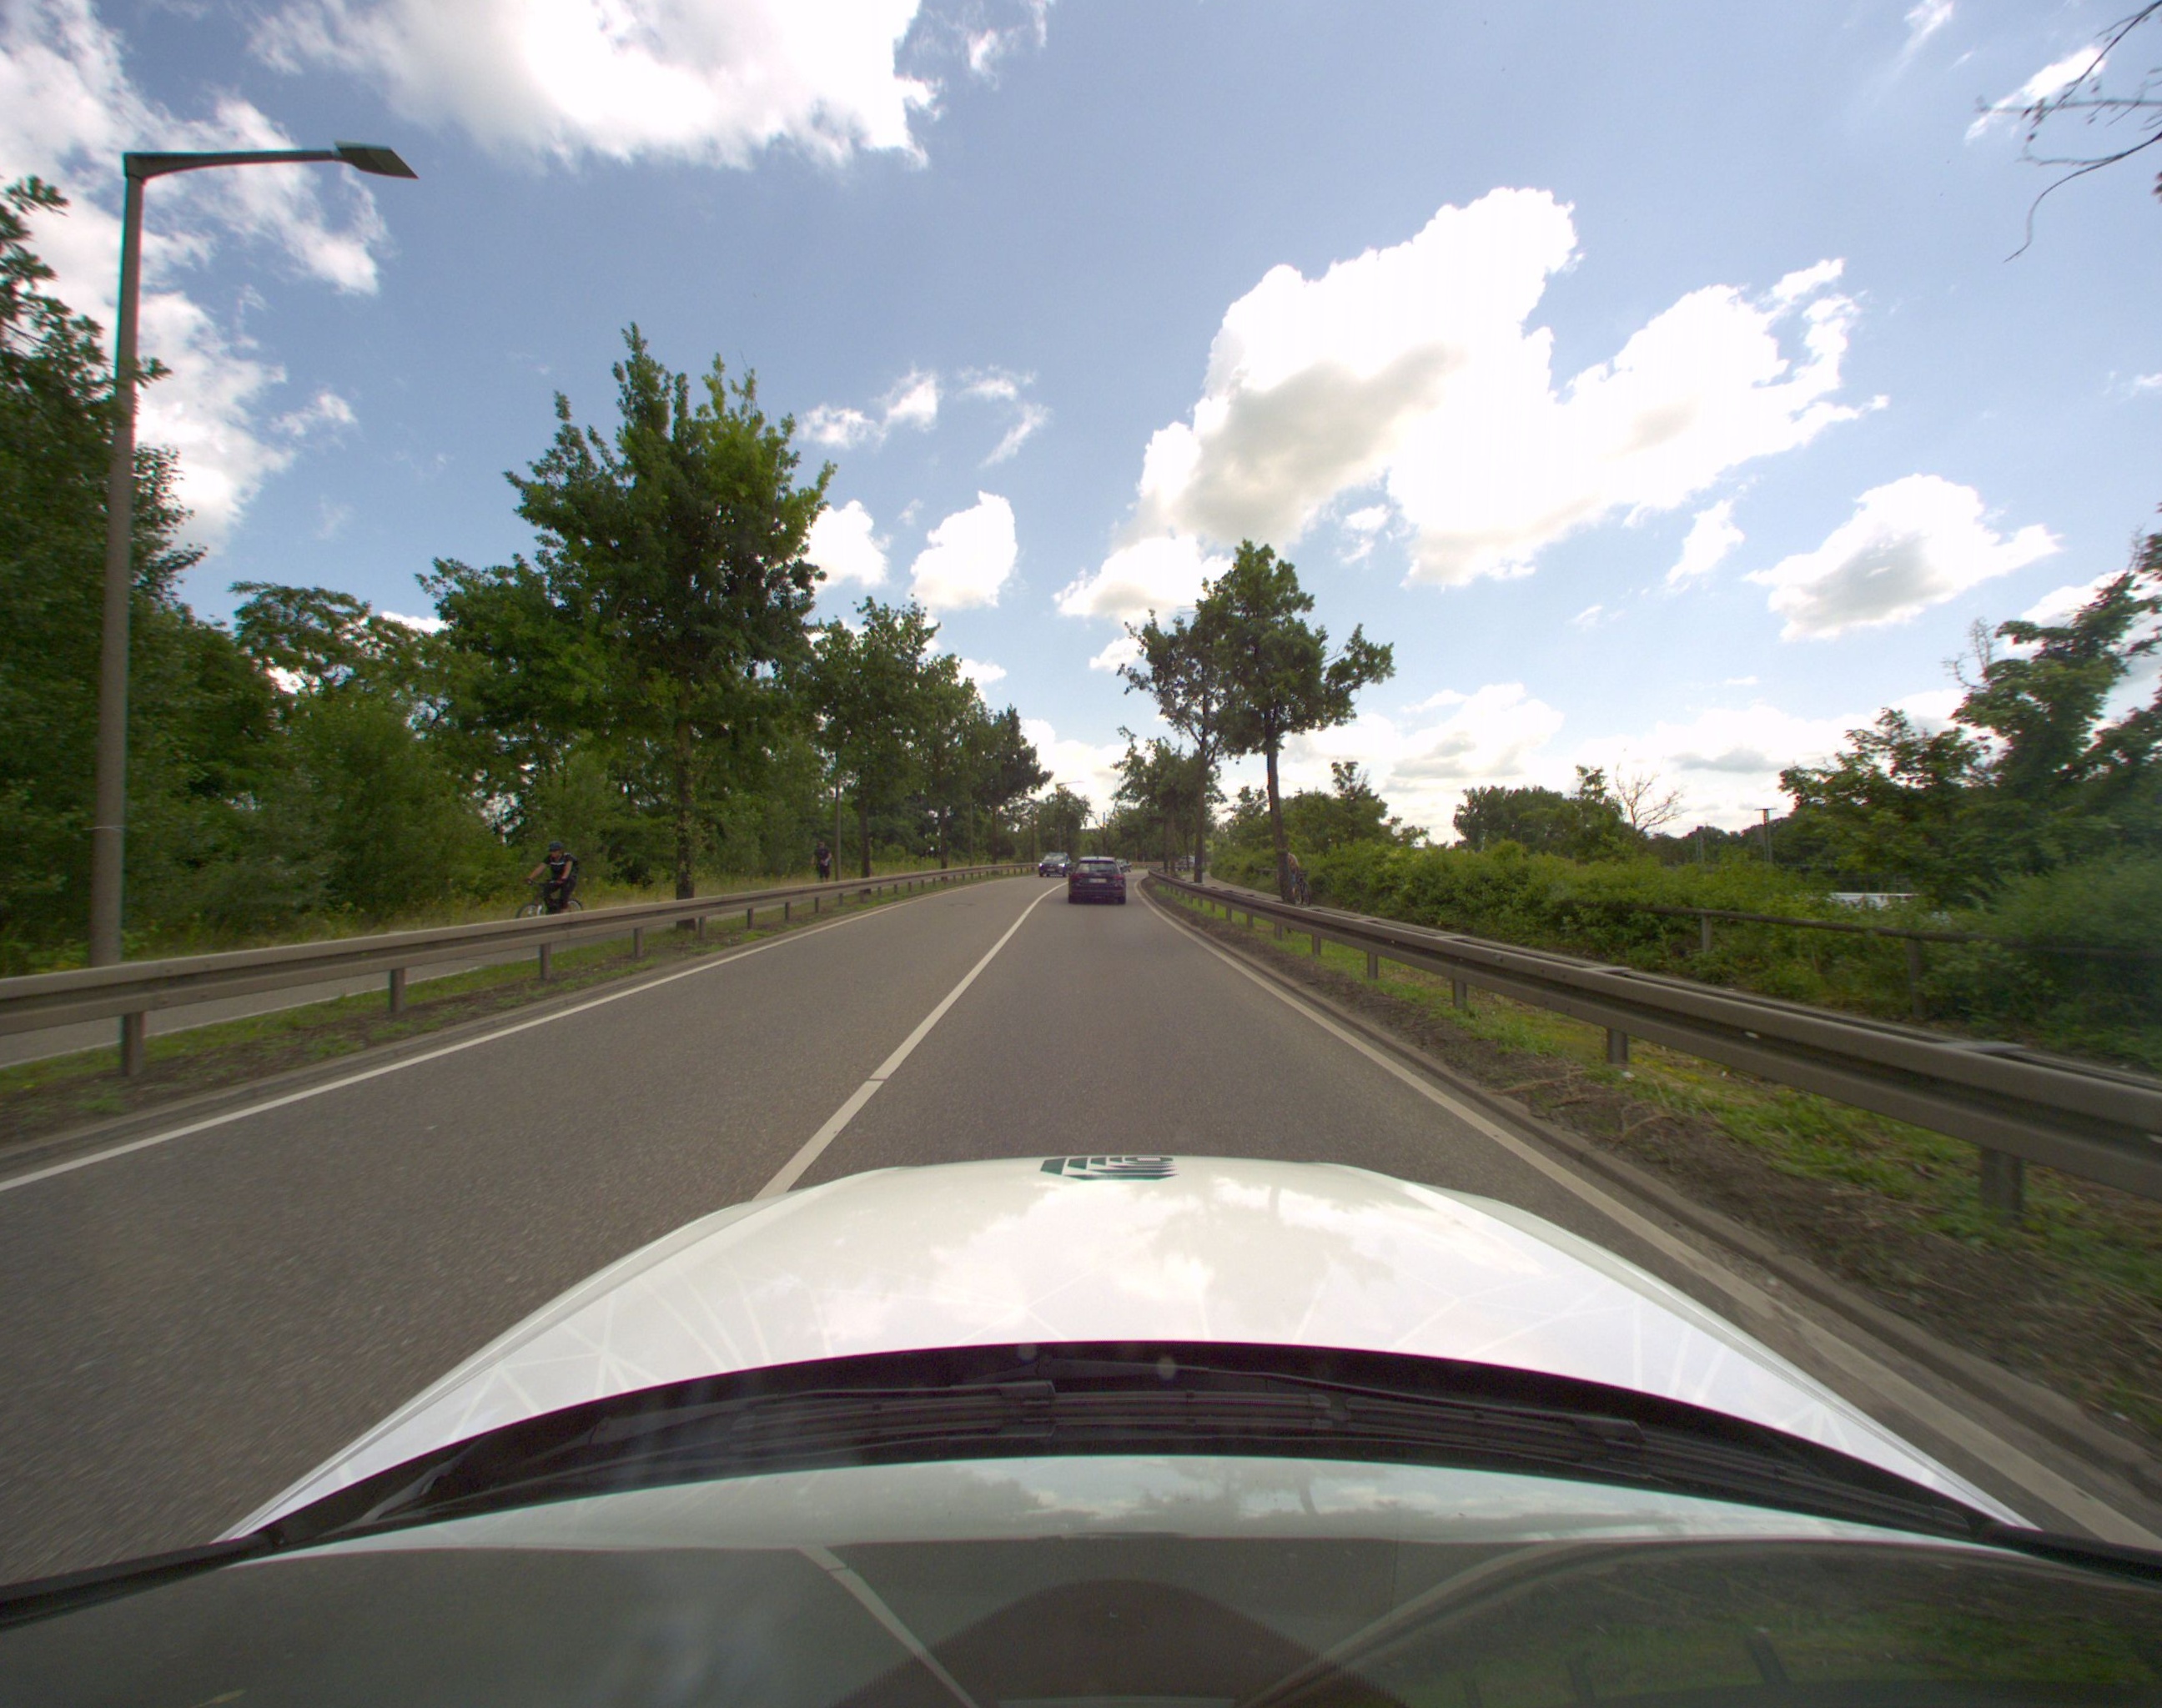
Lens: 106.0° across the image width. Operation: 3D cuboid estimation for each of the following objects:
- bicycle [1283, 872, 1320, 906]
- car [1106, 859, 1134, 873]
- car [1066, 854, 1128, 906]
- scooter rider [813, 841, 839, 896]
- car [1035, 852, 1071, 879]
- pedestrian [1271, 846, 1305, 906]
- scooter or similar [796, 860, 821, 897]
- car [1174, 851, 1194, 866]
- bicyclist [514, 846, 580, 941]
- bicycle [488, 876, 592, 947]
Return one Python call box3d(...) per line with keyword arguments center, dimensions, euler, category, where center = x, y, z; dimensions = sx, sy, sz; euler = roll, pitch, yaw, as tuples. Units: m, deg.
box3d(center=(6.247, 0.976, 23.179), dimensions=(0.554, 0.869, 1.826), euler=(-2, 0, 1), category="bicycle")
box3d(center=(3.665, 1.122, 76.356), dimensions=(1.579, 1.218, 3.809), euler=(1, 0, 20), category="car")
box3d(center=(0.574, 0.765, 26.263), dimensions=(1.820, 1.491, 4.209), euler=(1, 0, 2), category="car")
box3d(center=(-8.778, 0.481, 28.044), dimensions=(0.659, 1.856, 0.619), euler=(-2, 0, 0), category="scooter rider")
box3d(center=(-1.778, 0.704, 52.676), dimensions=(1.772, 1.607, 4.164), euler=(1, 0, 5), category="car")
box3d(center=(5.865, 0.600, 23.095), dimensions=(0.655, 1.642, 1.055), euler=(-2, 0, 1), category="pedestrian")
box3d(center=(-9.322, 0.840, 27.873), dimensions=(0.633, 1.207, 0.559), euler=(-2, 0, -2), category="scooter or similar")
box3d(center=(11.493, 0.493, 90.590), dimensions=(1.566, 1.520, 4.017), euler=(-1, 0, 16), category="car")
box3d(center=(-9.037, 0.652, 13.809), dimensions=(0.483, 1.553, 0.880), euler=(-2, 0, 0), category="bicyclist")
box3d(center=(-9.054, 0.923, 13.708), dimensions=(0.555, 1.063, 1.754), euler=(-1, 0, 0), category="bicycle")
